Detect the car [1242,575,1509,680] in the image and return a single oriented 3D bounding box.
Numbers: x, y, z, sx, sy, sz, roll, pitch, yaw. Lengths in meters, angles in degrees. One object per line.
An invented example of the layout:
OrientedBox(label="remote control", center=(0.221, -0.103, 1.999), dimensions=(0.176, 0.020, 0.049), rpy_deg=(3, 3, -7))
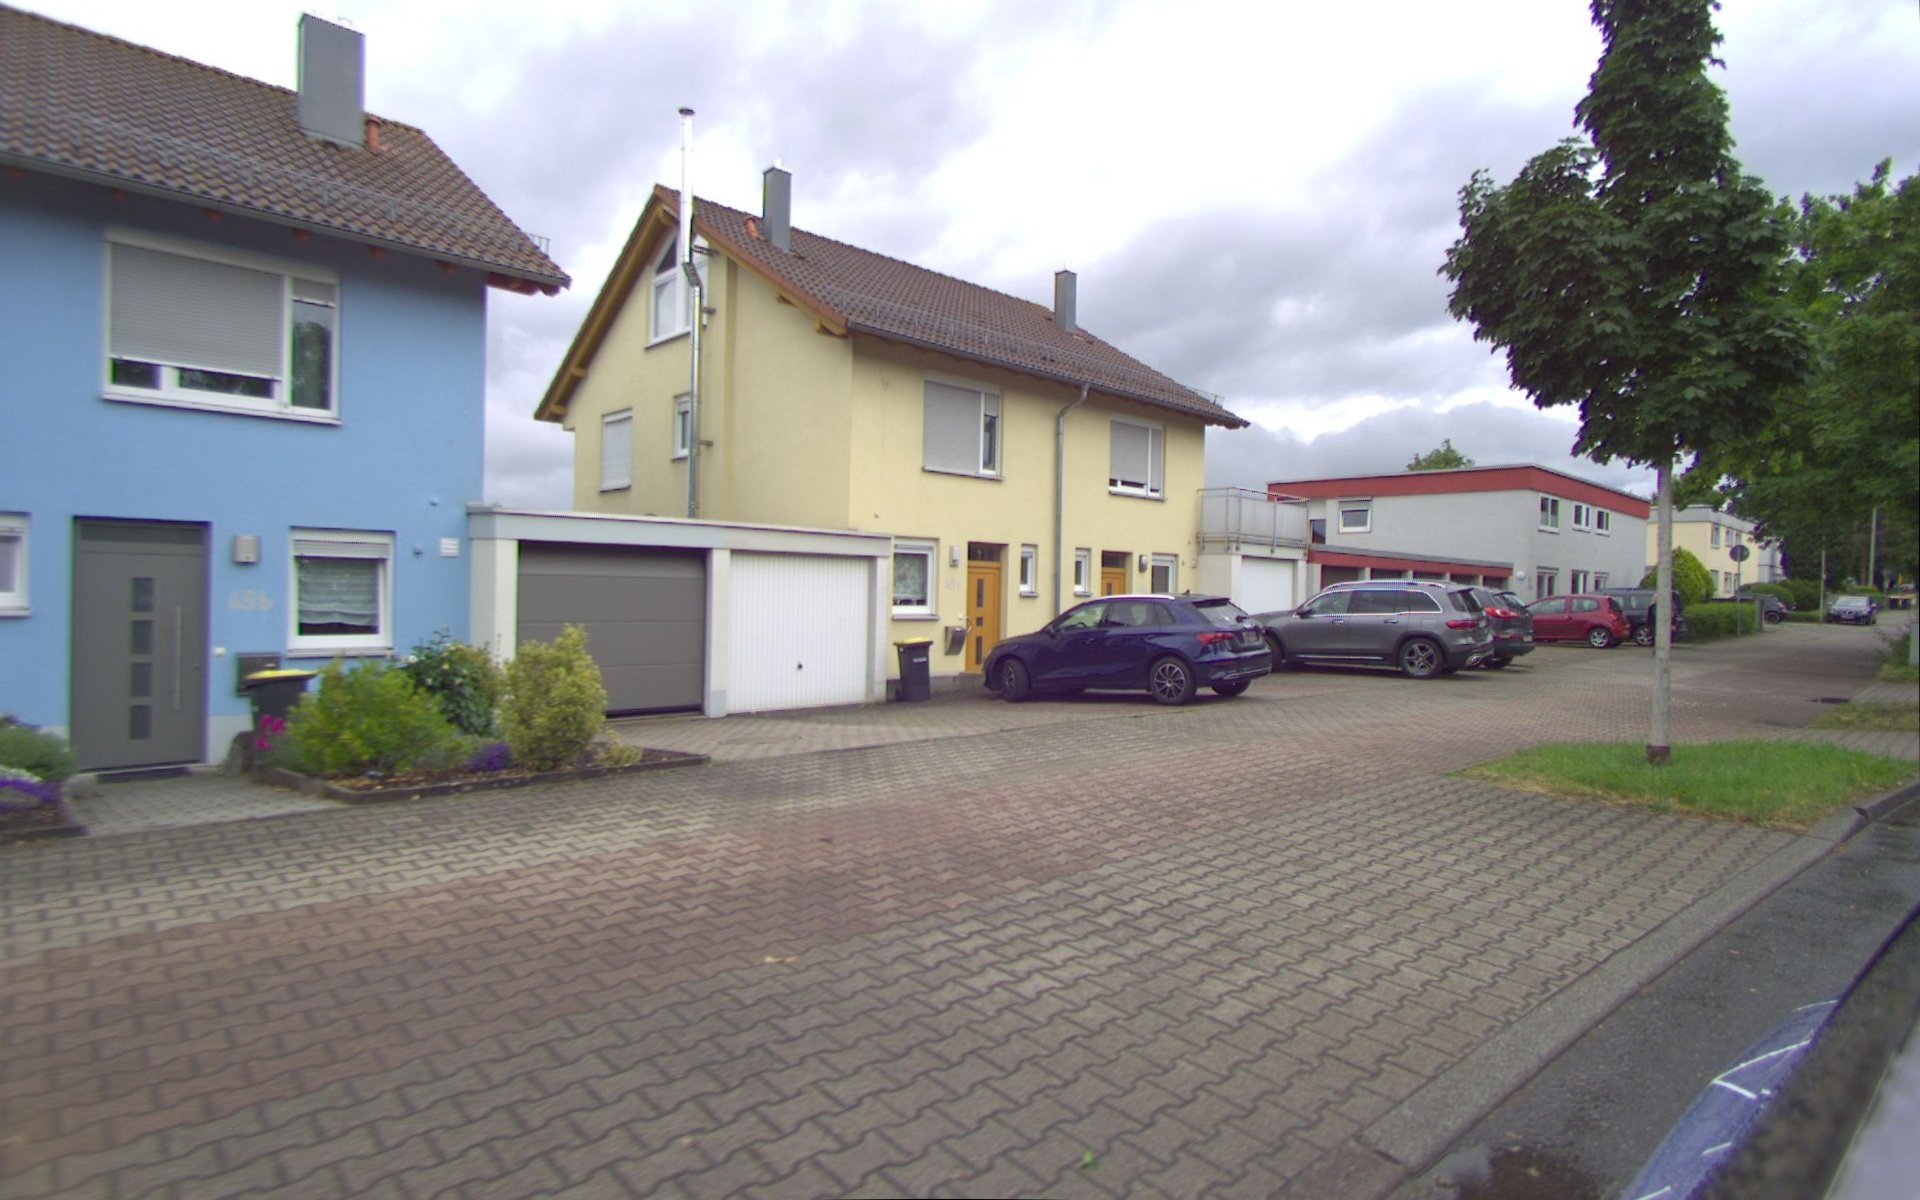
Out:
OrientedBox(label="car", center=(7.462, 0.487, 18.414), dimensions=(4.173, 1.693, 1.697), rpy_deg=(-2, -1, 40))

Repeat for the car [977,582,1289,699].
OrientedBox(label="car", center=(2.281, 0.586, 14.040), dimensions=(3.983, 1.405, 1.649), rpy_deg=(-4, -3, 43))

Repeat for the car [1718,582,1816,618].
OrientedBox(label="car", center=(40.501, -0.030, 50.833), dimensions=(3.614, 1.551, 1.734), rpy_deg=(5, 4, 44))

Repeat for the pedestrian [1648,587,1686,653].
OrientedBox(label="pedestrian", center=(17.361, 0.467, 24.837), dimensions=(0.663, 1.577, 0.830), rpy_deg=(1, 0, 41))

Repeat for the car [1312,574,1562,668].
OrientedBox(label="car", center=(9.611, 0.343, 20.627), dimensions=(1.957, 1.692, 4.185), rpy_deg=(0, 1, -42))

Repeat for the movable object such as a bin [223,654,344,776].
OrientedBox(label="movable object such as a bin", center=(-6.243, 1.022, 9.336), dimensions=(0.803, 0.976, 0.894), rpy_deg=(1, 1, -43))

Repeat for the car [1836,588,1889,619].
OrientedBox(label="car", center=(46.648, 0.162, 52.297), dimensions=(3.761, 1.529, 1.689), rpy_deg=(0, 1, -42))

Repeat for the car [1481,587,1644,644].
OrientedBox(label="car", center=(17.072, 0.389, 28.761), dimensions=(1.679, 1.460, 3.695), rpy_deg=(0, 1, -44))

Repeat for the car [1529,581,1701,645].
OrientedBox(label="car", center=(19.438, 0.337, 30.147), dimensions=(1.893, 1.742, 3.990), rpy_deg=(0, 1, -44))

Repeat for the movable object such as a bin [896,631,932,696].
OrientedBox(label="movable object such as a bin", center=(-0.678, 0.934, 15.018), dimensions=(0.473, 0.934, 0.367), rpy_deg=(-2, 0, 4))
